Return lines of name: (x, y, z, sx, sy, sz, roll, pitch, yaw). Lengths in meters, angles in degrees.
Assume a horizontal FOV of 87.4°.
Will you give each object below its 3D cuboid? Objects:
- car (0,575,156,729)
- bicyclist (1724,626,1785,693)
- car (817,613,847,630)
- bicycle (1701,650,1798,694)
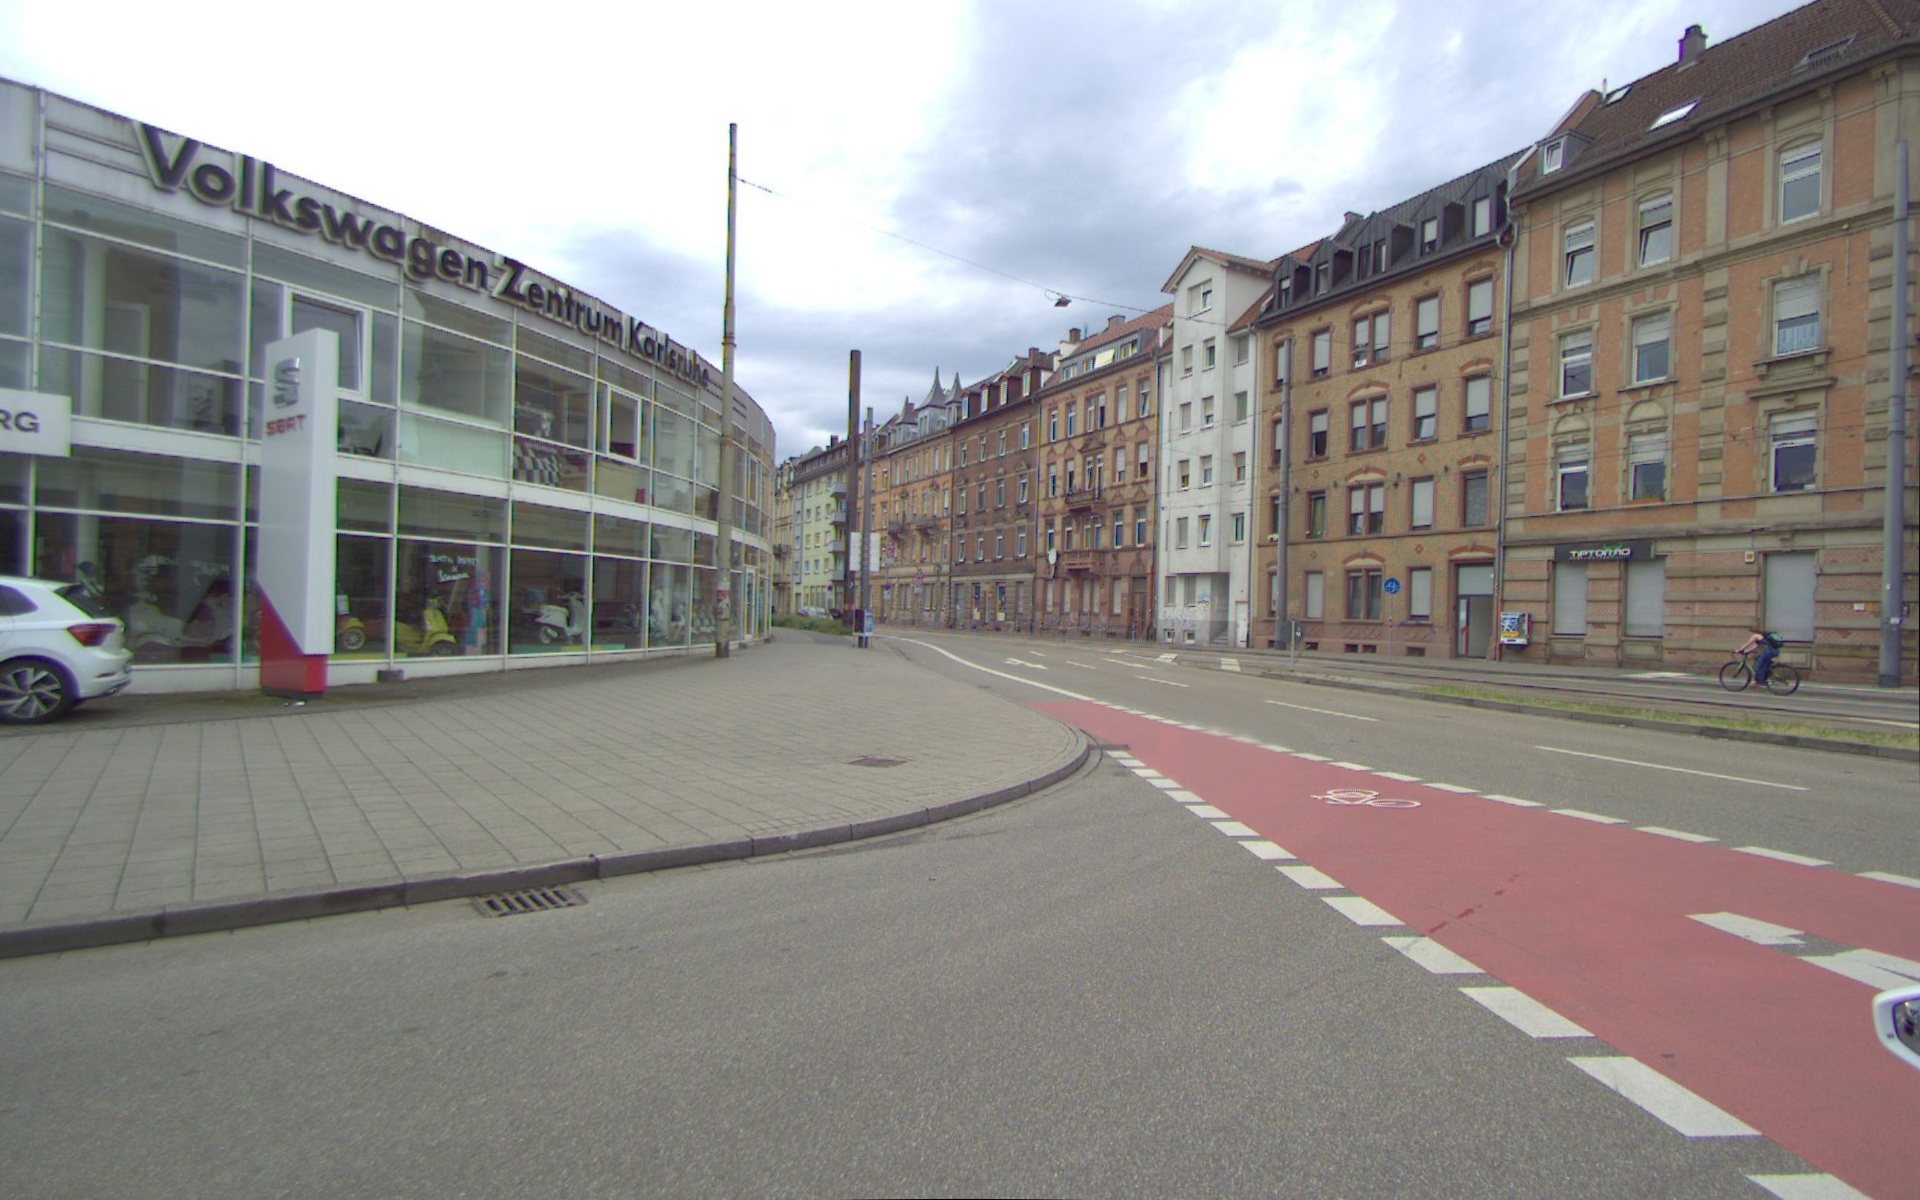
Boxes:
car: (-10.541, 0.469, 9.663, 4.220, 1.472, 1.766, 2, -1, -35)
bicyclist: (18.624, 1.371, 23.560, 0.655, 1.514, 0.935, 1, 0, -28)
car: (-11.701, 1.956, 91.625, 1.828, 1.500, 3.808, 2, -1, -22)
bicycle: (18.575, 1.680, 23.664, 0.600, 0.927, 1.706, 1, -1, -29)
